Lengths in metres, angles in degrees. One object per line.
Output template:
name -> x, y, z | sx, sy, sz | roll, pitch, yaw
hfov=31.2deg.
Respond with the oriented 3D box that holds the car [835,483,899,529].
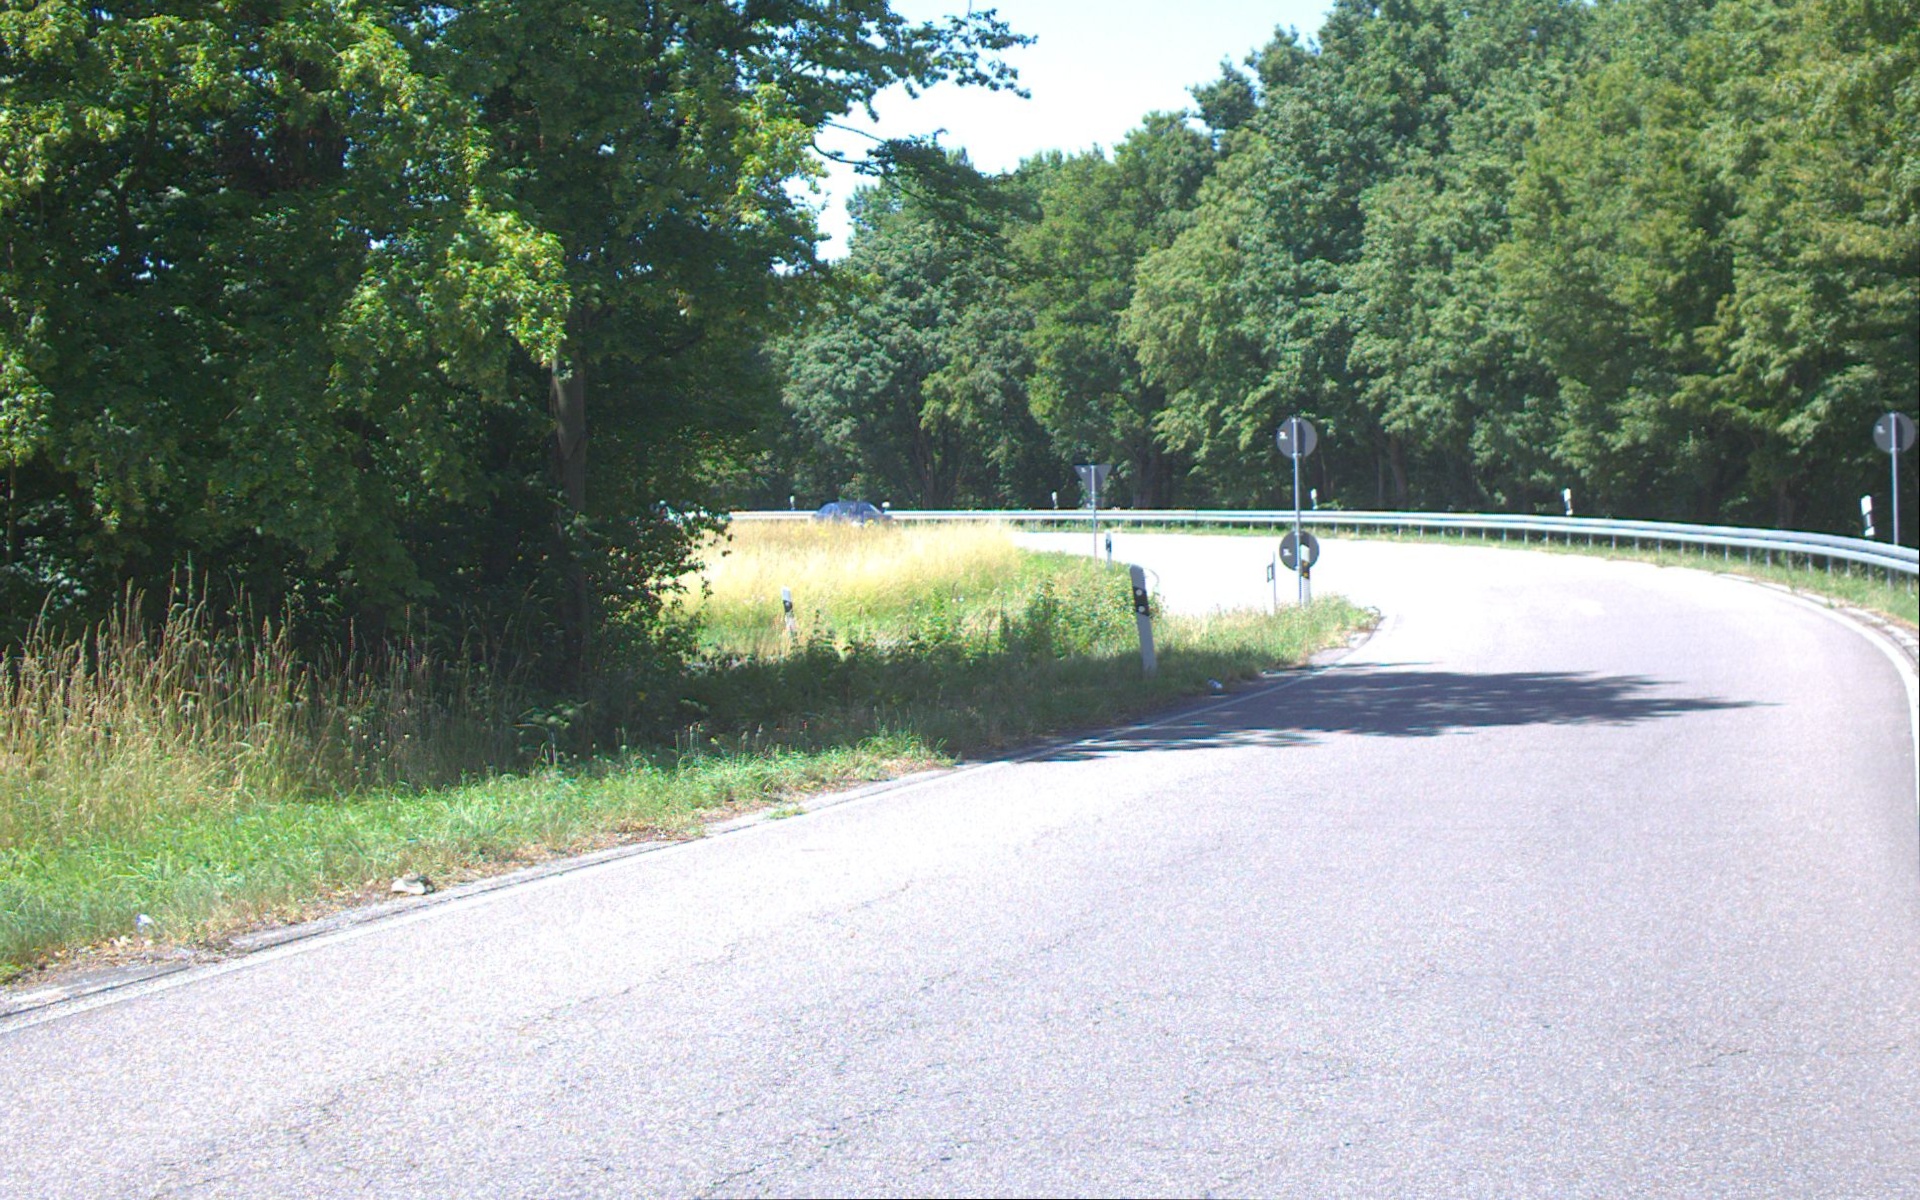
car -> -3.395, -3.373, 124.436 | 1.802, 1.501, 4.659 | -4, 2, -7
